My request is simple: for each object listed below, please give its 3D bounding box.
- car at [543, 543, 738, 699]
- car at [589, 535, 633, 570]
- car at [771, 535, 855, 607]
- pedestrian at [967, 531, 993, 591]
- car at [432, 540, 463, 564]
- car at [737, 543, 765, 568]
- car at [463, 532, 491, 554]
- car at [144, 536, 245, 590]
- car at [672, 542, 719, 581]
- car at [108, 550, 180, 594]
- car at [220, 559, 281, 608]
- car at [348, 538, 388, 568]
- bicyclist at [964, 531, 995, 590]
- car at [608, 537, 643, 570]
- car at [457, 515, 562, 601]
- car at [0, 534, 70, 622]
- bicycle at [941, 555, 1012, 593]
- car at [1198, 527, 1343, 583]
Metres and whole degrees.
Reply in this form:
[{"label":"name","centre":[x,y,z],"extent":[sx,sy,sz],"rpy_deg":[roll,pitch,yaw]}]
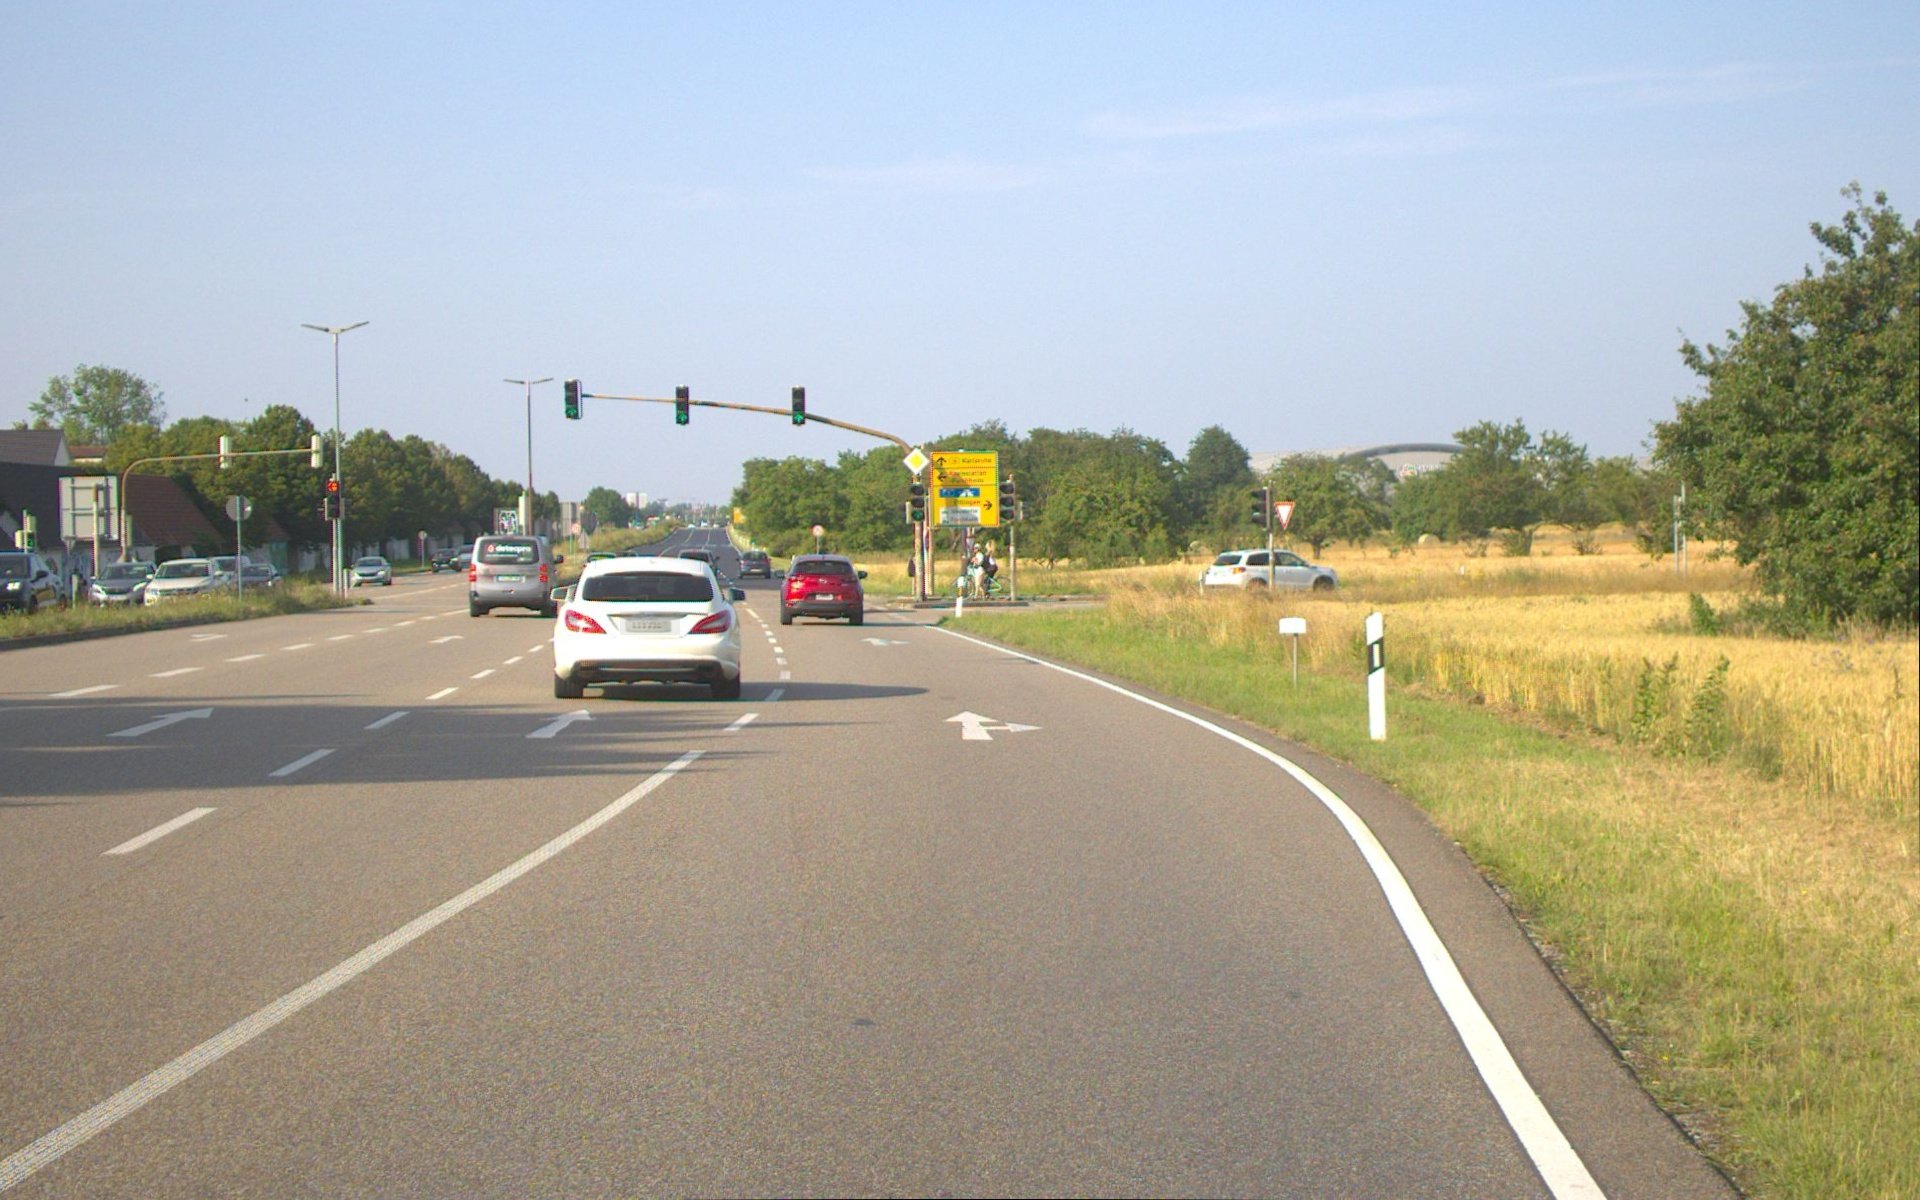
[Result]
[{"label":"car","centre":[-3.258,0.176,35.606],"extent":[1.894,1.503,4.001],"rpy_deg":[0,1,-4]},{"label":"car","centre":[-15.197,-2.079,149.970],"extent":[1.717,1.487,3.585],"rpy_deg":[1,1,-3]},{"label":"car","centre":[-3.218,-0.653,74.646],"extent":[1.754,1.511,4.001],"rpy_deg":[-1,1,-3]},{"label":"pedestrian","centre":[0.589,-1.145,100.480],"extent":[0.710,1.745,0.863],"rpy_deg":[1,1,-2]},{"label":"car","centre":[-34.266,-3.227,229.796],"extent":[1.734,1.568,3.704],"rpy_deg":[1,1,-4]},{"label":"car","centre":[-11.049,-2.360,181.956],"extent":[1.439,1.279,2.915],"rpy_deg":[1,1,-3]},{"label":"car","centre":[-35.667,-4.191,253.858],"extent":[1.734,1.568,3.704],"rpy_deg":[1,1,-4]},{"label":"car","centre":[-19.913,-0.984,89.575],"extent":[1.873,1.317,4.714],"rpy_deg":[1,1,-4]},{"label":"car","centre":[-11.843,-1.755,154.147],"extent":[1.839,1.678,4.000],"rpy_deg":[1,1,-1]},{"label":"car","centre":[-25.038,-0.867,105.551],"extent":[1.684,1.282,3.148],"rpy_deg":[1,1,-4]},{"label":"car","centre":[-27.037,-0.645,131.110],"extent":[1.775,1.745,4.001],"rpy_deg":[1,1,-4]},{"label":"car","centre":[-30.419,-2.420,176.721],"extent":[1.783,1.432,4.358],"rpy_deg":[1,1,-7]},{"label":"bicyclist","centre":[0.591,-1.180,102.435],"extent":[0.848,1.750,0.799],"rpy_deg":[1,1,-2]},{"label":"car","centre":[-17.966,-2.501,184.565],"extent":[1.775,1.660,3.664],"rpy_deg":[1,1,-7]},{"label":"car","centre":[-10.522,-1.017,80.500],"extent":[2.025,1.885,4.959],"rpy_deg":[1,2,-3]},{"label":"car","centre":[-18.719,-0.466,67.124],"extent":[1.731,1.619,4.923],"rpy_deg":[1,1,-4]},{"label":"bicycle","centre":[0.494,-0.776,102.456],"extent":[2.096,1.085,0.808],"rpy_deg":[1,1,0]},{"label":"car","centre":[9.185,-1.329,101.538],"extent":[3.987,1.592,1.861],"rpy_deg":[0,1,-36]}]
